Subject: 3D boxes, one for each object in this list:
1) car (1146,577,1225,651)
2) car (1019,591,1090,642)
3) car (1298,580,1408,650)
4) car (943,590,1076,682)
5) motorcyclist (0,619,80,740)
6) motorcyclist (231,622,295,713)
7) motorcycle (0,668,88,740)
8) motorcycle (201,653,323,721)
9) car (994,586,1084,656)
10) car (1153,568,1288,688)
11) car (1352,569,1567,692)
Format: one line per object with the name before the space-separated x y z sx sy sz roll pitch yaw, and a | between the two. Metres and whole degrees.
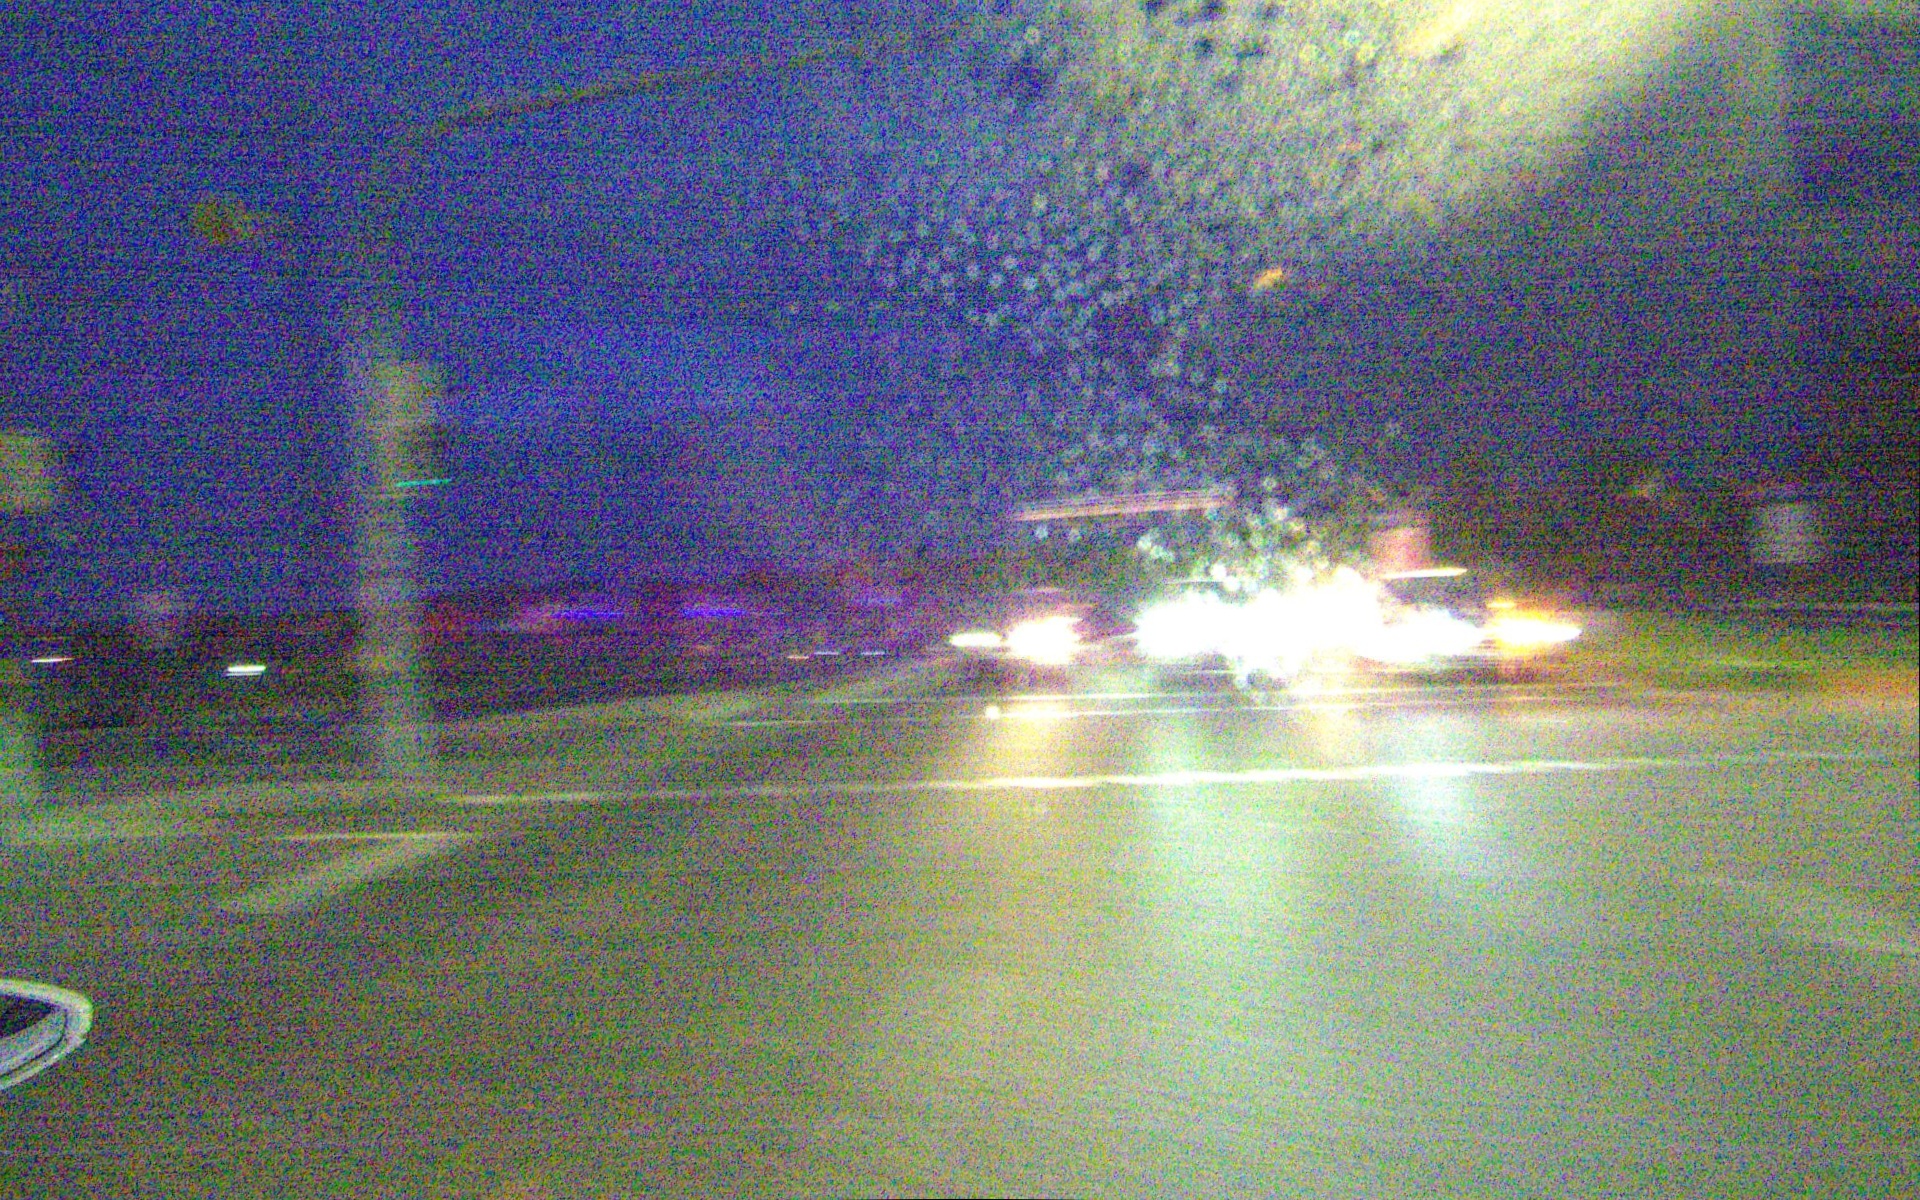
car | 5.532 0.305 24.890 1.718 1.648 4.358 -1 1 11
car | 3.027 0.465 31.251 1.803 1.408 4.393 -2 0 10
car | 9.191 0.314 23.732 1.745 1.500 3.907 -1 0 11
car | 1.036 0.573 18.232 1.753 1.465 4.287 -1 0 12
motorcyclist | -14.967 1.282 16.087 0.901 1.830 0.870 -5 -3 -20
motorcyclist | -14.341 1.381 20.612 0.674 1.780 0.786 -6 -2 29
motorcycle | -14.915 1.681 16.139 0.710 1.045 1.576 -5 -4 -19
motorcycle | -14.332 1.769 20.612 0.838 1.196 1.813 -7 -3 29
car | 2.048 0.475 24.962 1.803 1.545 3.997 -2 0 10
car | 4.180 0.392 16.667 1.878 1.705 4.416 -1 0 11
car | 7.694 0.407 15.938 1.822 1.655 4.581 -1 0 10
